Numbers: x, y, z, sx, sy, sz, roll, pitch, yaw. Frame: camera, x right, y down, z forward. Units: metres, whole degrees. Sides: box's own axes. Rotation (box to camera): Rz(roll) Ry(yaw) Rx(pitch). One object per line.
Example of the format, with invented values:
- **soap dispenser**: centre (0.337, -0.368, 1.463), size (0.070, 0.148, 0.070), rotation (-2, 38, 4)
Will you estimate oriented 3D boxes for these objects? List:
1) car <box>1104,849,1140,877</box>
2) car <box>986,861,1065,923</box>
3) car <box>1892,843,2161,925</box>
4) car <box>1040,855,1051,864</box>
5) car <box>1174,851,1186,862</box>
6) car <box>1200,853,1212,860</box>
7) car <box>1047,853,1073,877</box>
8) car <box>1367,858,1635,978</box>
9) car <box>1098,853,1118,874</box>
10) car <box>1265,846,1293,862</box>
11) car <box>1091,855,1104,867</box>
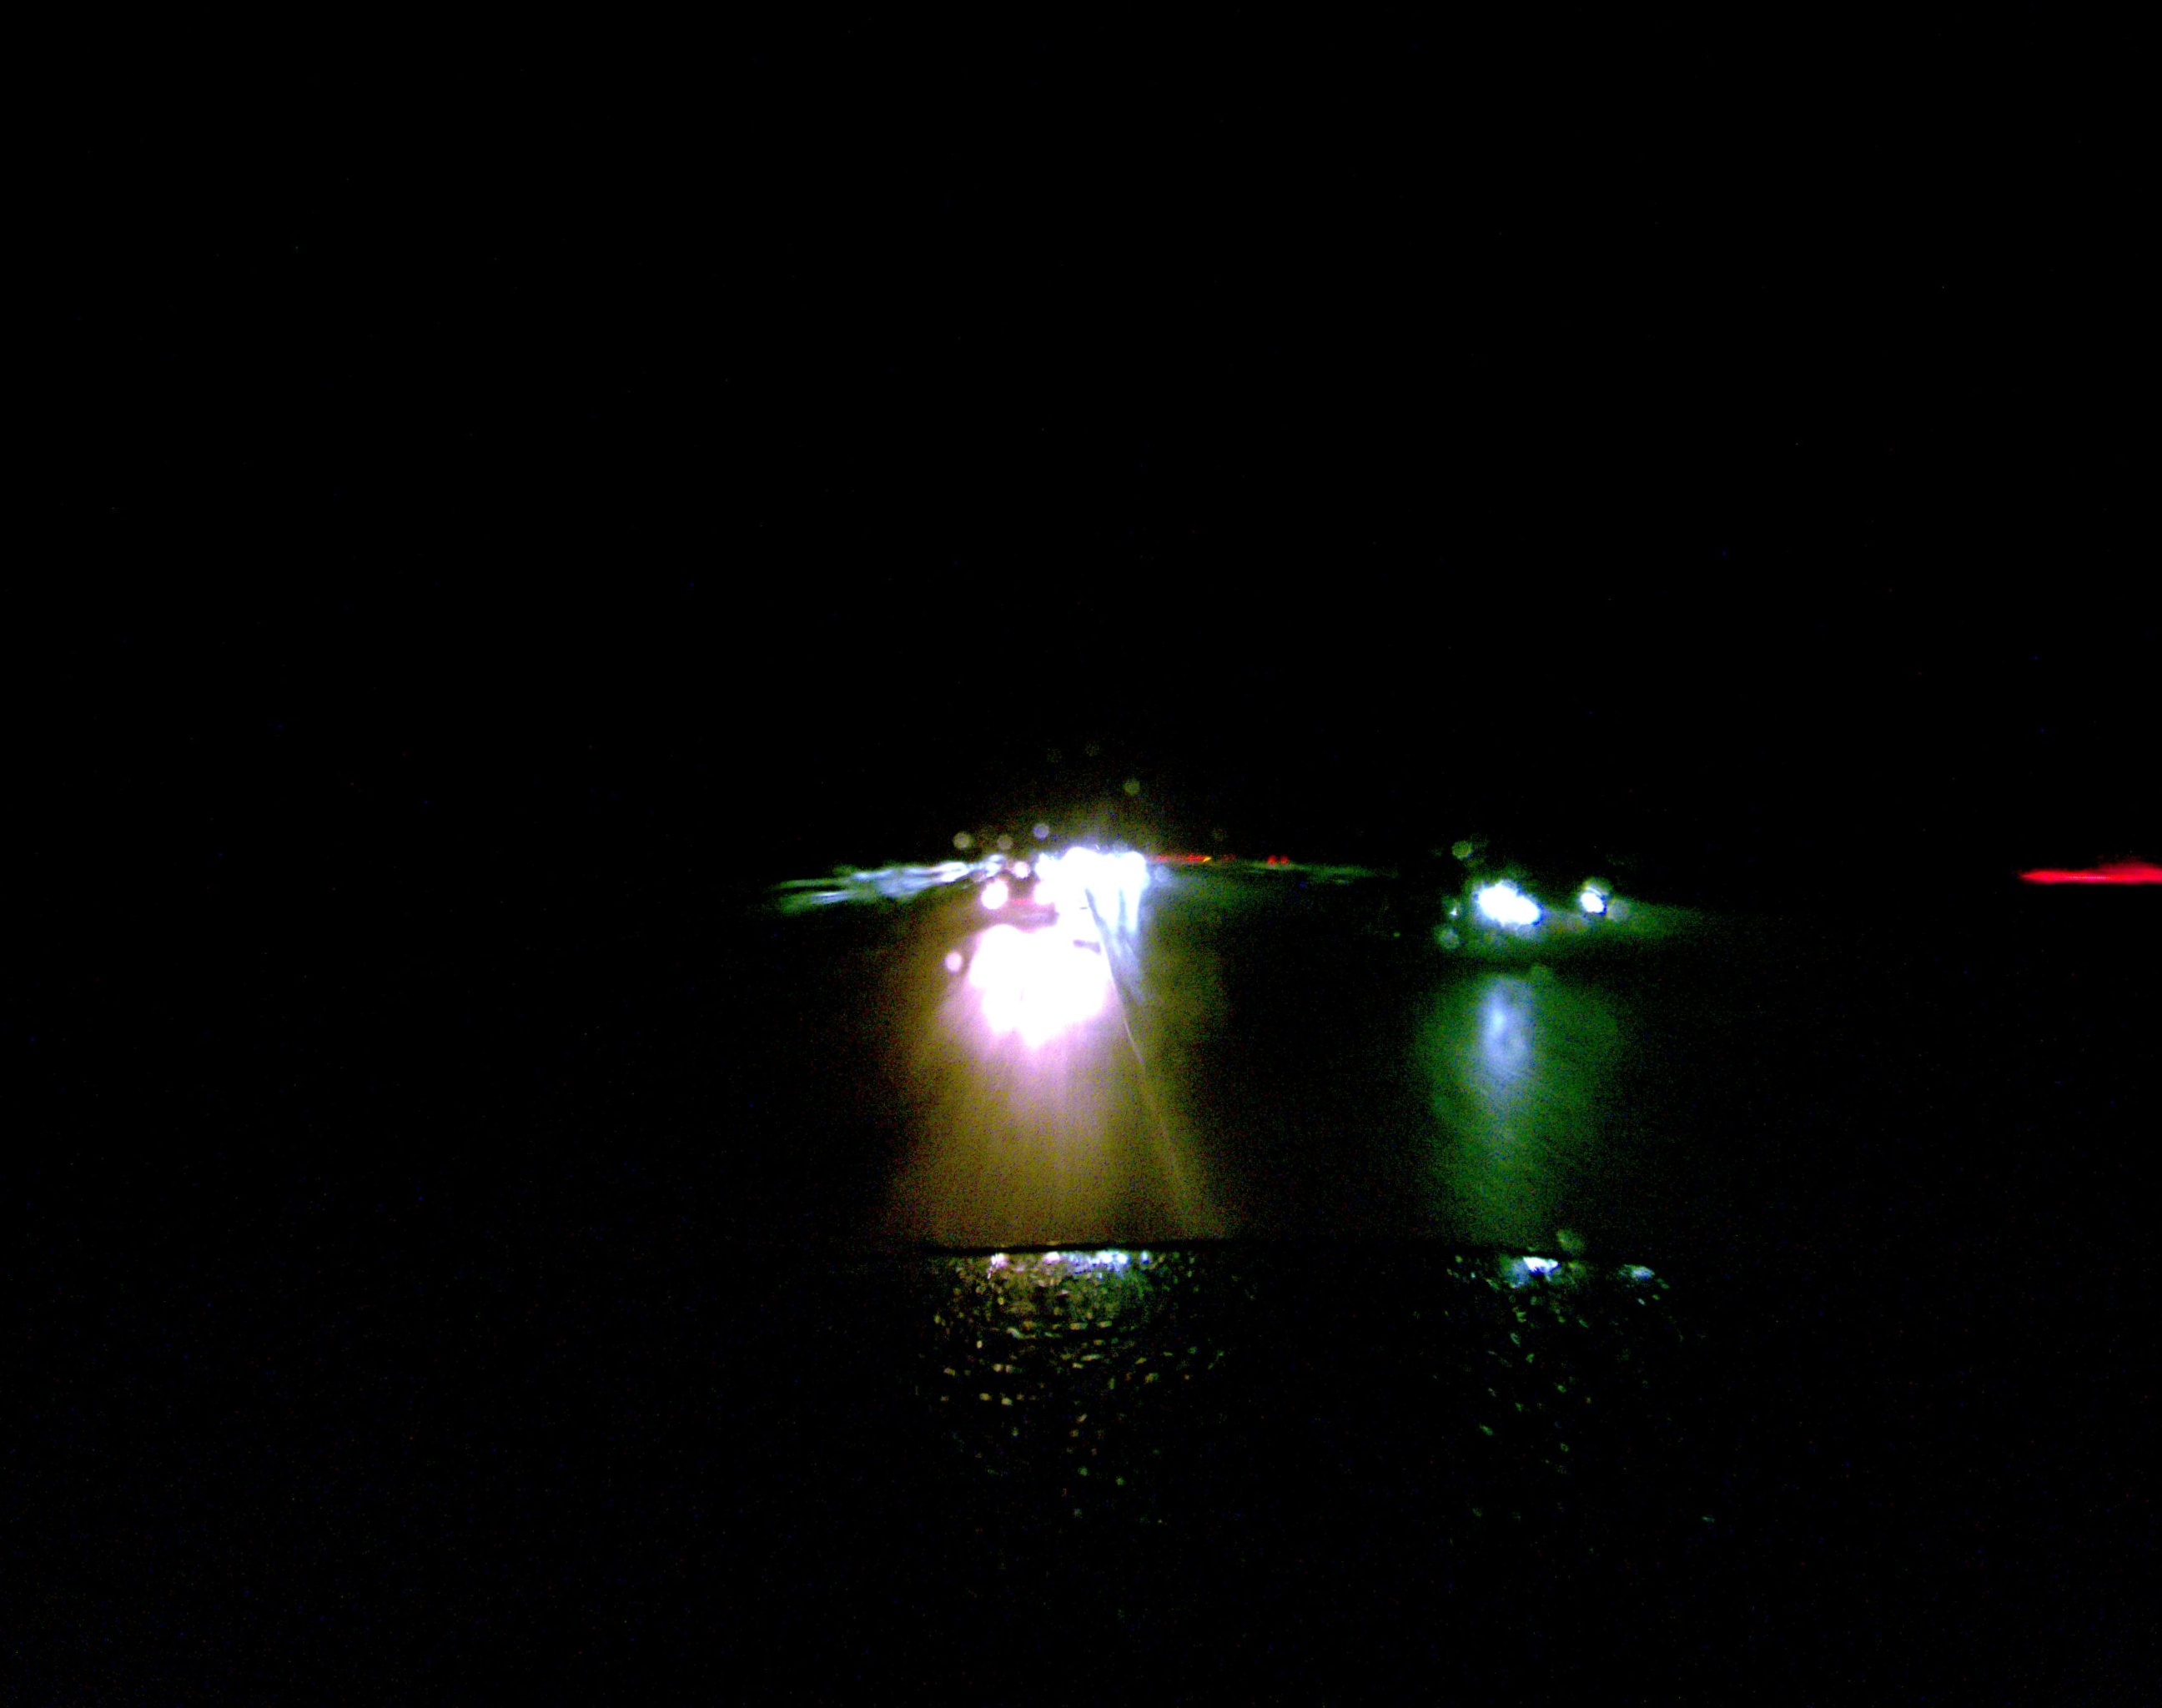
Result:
- **car**: centre (2.574, 0.533, 48.849), size (1.960, 1.655, 4.915), rotation (-2, 0, 0)
- **car**: centre (-1.407, 0.942, 20.744), size (1.774, 1.449, 4.195), rotation (-1, 0, 1)
- **car**: centre (22.771, 0.602, 18.227), size (1.617, 1.663, 4.658), rotation (-2, 1, -1)
- **car**: centre (-6.766, 1.064, 145.607), size (1.755, 1.563, 3.999), rotation (-2, 1, 0)
- **car**: centre (22.566, 0.490, 173.340), size (1.974, 2.387, 4.844), rotation (-2, 1, 1)
- **car**: centre (26.284, 0.492, 159.854), size (1.811, 1.509, 4.348), rotation (-2, 1, -1)
- **car**: centre (-1.596, 0.811, 58.609), size (1.792, 1.681, 3.999), rotation (-2, 1, 0)
- **car**: centre (6.001, 0.807, 11.527), size (1.661, 1.422, 4.246), rotation (-1, 0, -1)
- **car**: centre (2.396, 0.824, 67.509), size (1.611, 1.775, 3.910), rotation (-2, 1, 0)
- **car**: centre (22.612, -0.002, 87.044), size (1.999, 1.663, 4.346), rotation (-2, 1, -1)
- **car**: centre (2.389, 1.026, 110.204), size (1.755, 1.563, 3.999), rotation (-2, 1, 0)
